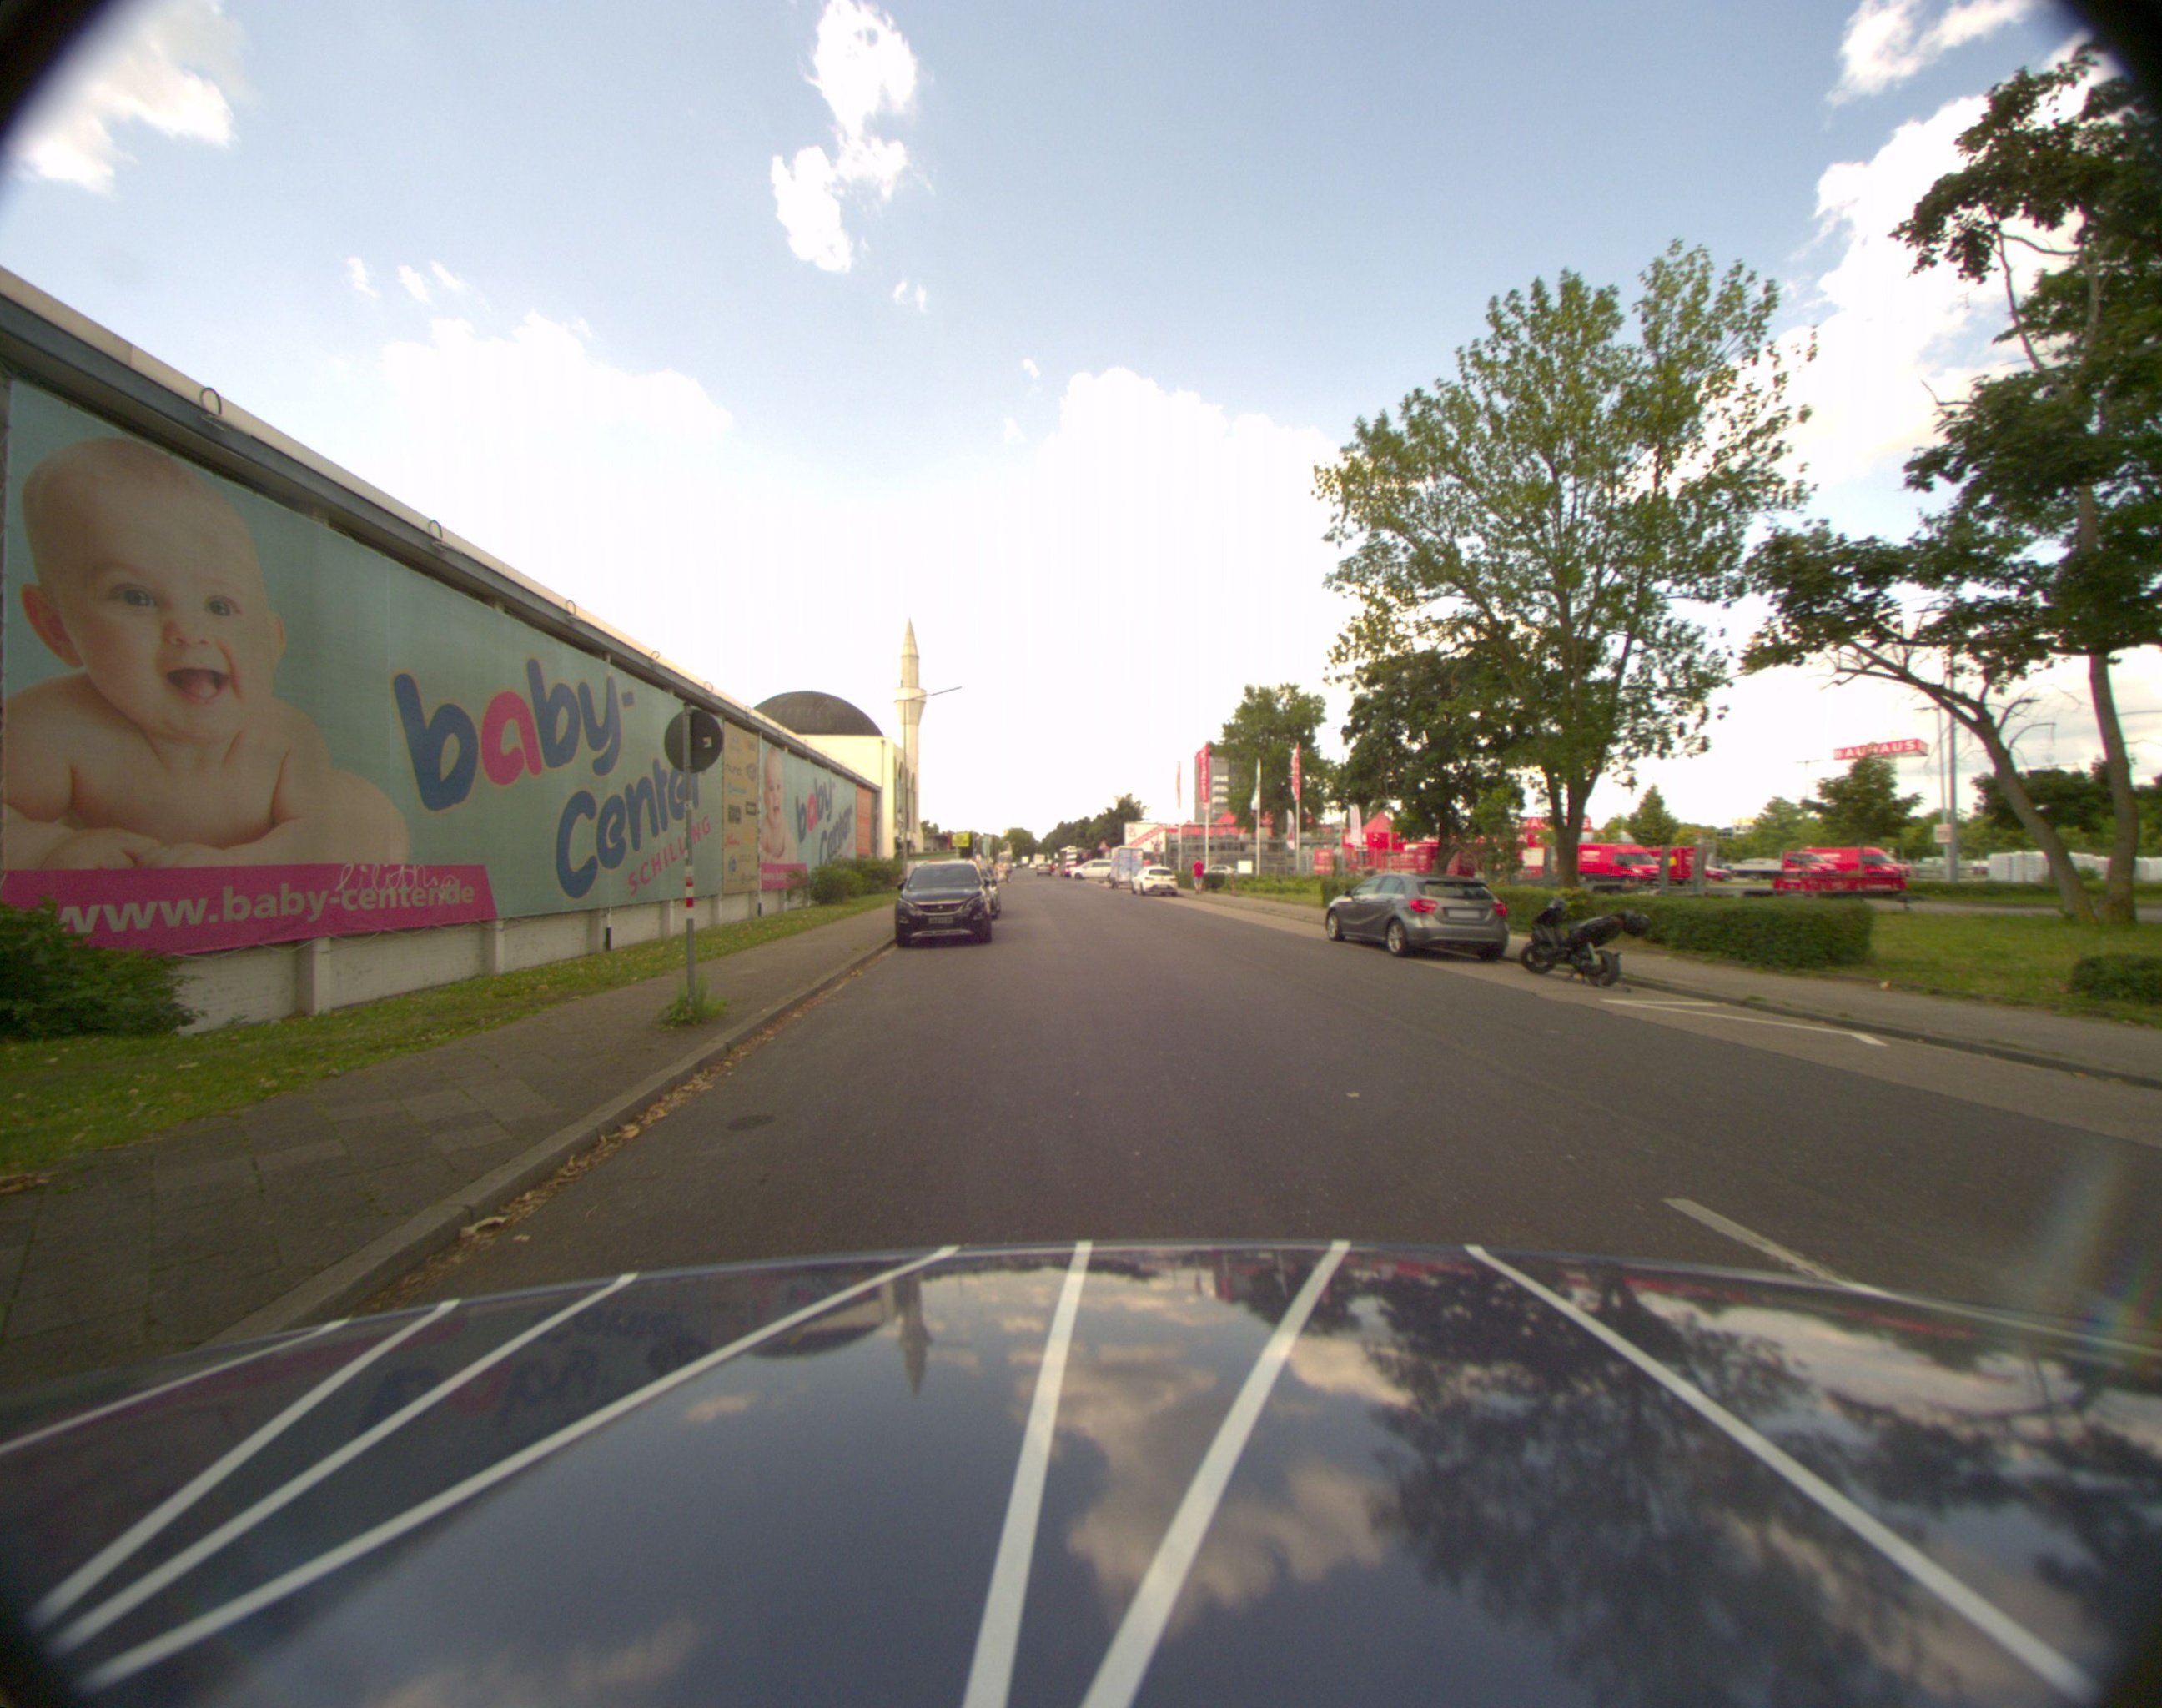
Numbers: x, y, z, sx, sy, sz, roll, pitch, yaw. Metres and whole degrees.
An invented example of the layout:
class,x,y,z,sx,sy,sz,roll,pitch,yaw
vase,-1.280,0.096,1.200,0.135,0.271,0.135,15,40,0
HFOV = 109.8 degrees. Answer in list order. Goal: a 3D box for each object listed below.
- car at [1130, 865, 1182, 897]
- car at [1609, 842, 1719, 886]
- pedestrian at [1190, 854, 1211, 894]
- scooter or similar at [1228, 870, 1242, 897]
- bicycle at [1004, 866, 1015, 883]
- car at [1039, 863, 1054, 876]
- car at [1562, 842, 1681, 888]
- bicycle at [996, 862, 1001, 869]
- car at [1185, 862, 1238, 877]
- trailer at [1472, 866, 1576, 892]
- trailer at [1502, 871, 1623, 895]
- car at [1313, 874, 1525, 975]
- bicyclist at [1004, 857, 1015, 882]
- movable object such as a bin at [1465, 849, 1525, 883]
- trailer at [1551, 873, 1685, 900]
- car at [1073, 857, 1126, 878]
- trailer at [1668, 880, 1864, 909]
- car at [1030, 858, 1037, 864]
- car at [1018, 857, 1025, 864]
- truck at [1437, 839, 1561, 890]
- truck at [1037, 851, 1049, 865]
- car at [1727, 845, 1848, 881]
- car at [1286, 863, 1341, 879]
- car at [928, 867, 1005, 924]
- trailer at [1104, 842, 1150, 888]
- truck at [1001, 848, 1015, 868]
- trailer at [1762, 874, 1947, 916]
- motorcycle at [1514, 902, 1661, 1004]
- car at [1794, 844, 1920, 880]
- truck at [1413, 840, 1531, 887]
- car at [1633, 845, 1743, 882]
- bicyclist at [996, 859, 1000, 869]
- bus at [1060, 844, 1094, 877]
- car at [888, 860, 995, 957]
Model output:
class,x,y,z,sx,sy,sz,roll,pitch,yaw
car,3.724,1.323,38.503,1.771,1.470,4.233,3,-1,-6
car,37.143,0.555,48.671,2.273,2.579,5.719,0,2,-4
pedestrian,5.953,0.983,37.950,0.812,2.002,0.885,0,1,-5
scooter or similar,7.037,1.355,34.806,0.518,1.186,1.280,-1,0,6
bicycle,-5.400,1.528,57.434,0.800,1.173,2.625,-2,0,-6
car,-4.033,1.773,88.327,1.595,1.456,3.760,1,-1,-6
car,32.764,0.568,46.390,2.273,2.579,6.434,0,1,-4
bicycle,-16.295,2.320,149.548,0.794,1.287,1.882,4,0,-3
car,12.580,1.509,73.244,4.697,1.445,1.954,0,0,-4
trailer,21.623,1.196,37.143,4.247,1.114,1.670,0,2,-7
trailer,21.952,1.312,34.751,4.247,0.907,2.157,0,2,-7
car,5.945,1.164,14.028,1.714,1.411,4.330,3,0,-4
bicyclist,-5.423,1.161,57.509,0.809,1.782,1.206,-2,1,-6
movable object such as a bin,28.054,0.808,51.627,1.999,2.261,3.544,0,0,-5
trailer,22.096,1.320,31.367,4.247,0.907,2.021,0,2,-7
car,1.727,1.262,72.970,5.013,1.937,1.992,0,0,1
trailer,22.889,1.342,25.533,4.606,0.907,2.188,0,-1,0
car,-11.463,1.664,183.857,1.688,1.461,3.610,1,0,-6
car,-15.676,1.716,198.890,1.798,1.881,3.998,0,0,-6
truck,21.701,0.516,39.536,5.564,2.579,1.778,0,2,-4
truck,-10.126,1.053,199.984,2.756,3.701,7.167,1,0,-6
car,50.741,0.568,54.845,2.273,2.402,6.433,0,1,-5
car,21.053,1.517,68.988,4.378,1.369,1.929,0,0,-5
car,-3.270,1.156,22.567,1.813,1.382,4.586,-3,0,-4
trailer,2.912,0.714,48.946,2.146,2.766,4.701,2,-1,-5
truck,-15.446,0.889,160.827,2.786,4.092,8.275,-3,0,-5
trailer,23.224,1.223,22.919,3.826,1.183,1.715,0,-1,1
motorcycle,6.760,1.284,10.267,0.623,1.131,1.802,3,0,-4
car,56.833,0.539,55.916,2.273,2.402,6.433,0,1,-5
truck,21.930,0.513,42.757,5.771,2.579,1.814,0,2,-3
car,43.242,0.603,54.421,2.273,2.402,6.433,0,1,-5
bicyclist,-16.340,1.975,149.547,0.797,1.899,0.828,3,0,-3
bus,-0.593,0.716,88.019,2.671,3.402,13.212,4,-1,-5
car,-2.781,1.006,16.083,1.813,1.655,4.637,-3,0,-6
